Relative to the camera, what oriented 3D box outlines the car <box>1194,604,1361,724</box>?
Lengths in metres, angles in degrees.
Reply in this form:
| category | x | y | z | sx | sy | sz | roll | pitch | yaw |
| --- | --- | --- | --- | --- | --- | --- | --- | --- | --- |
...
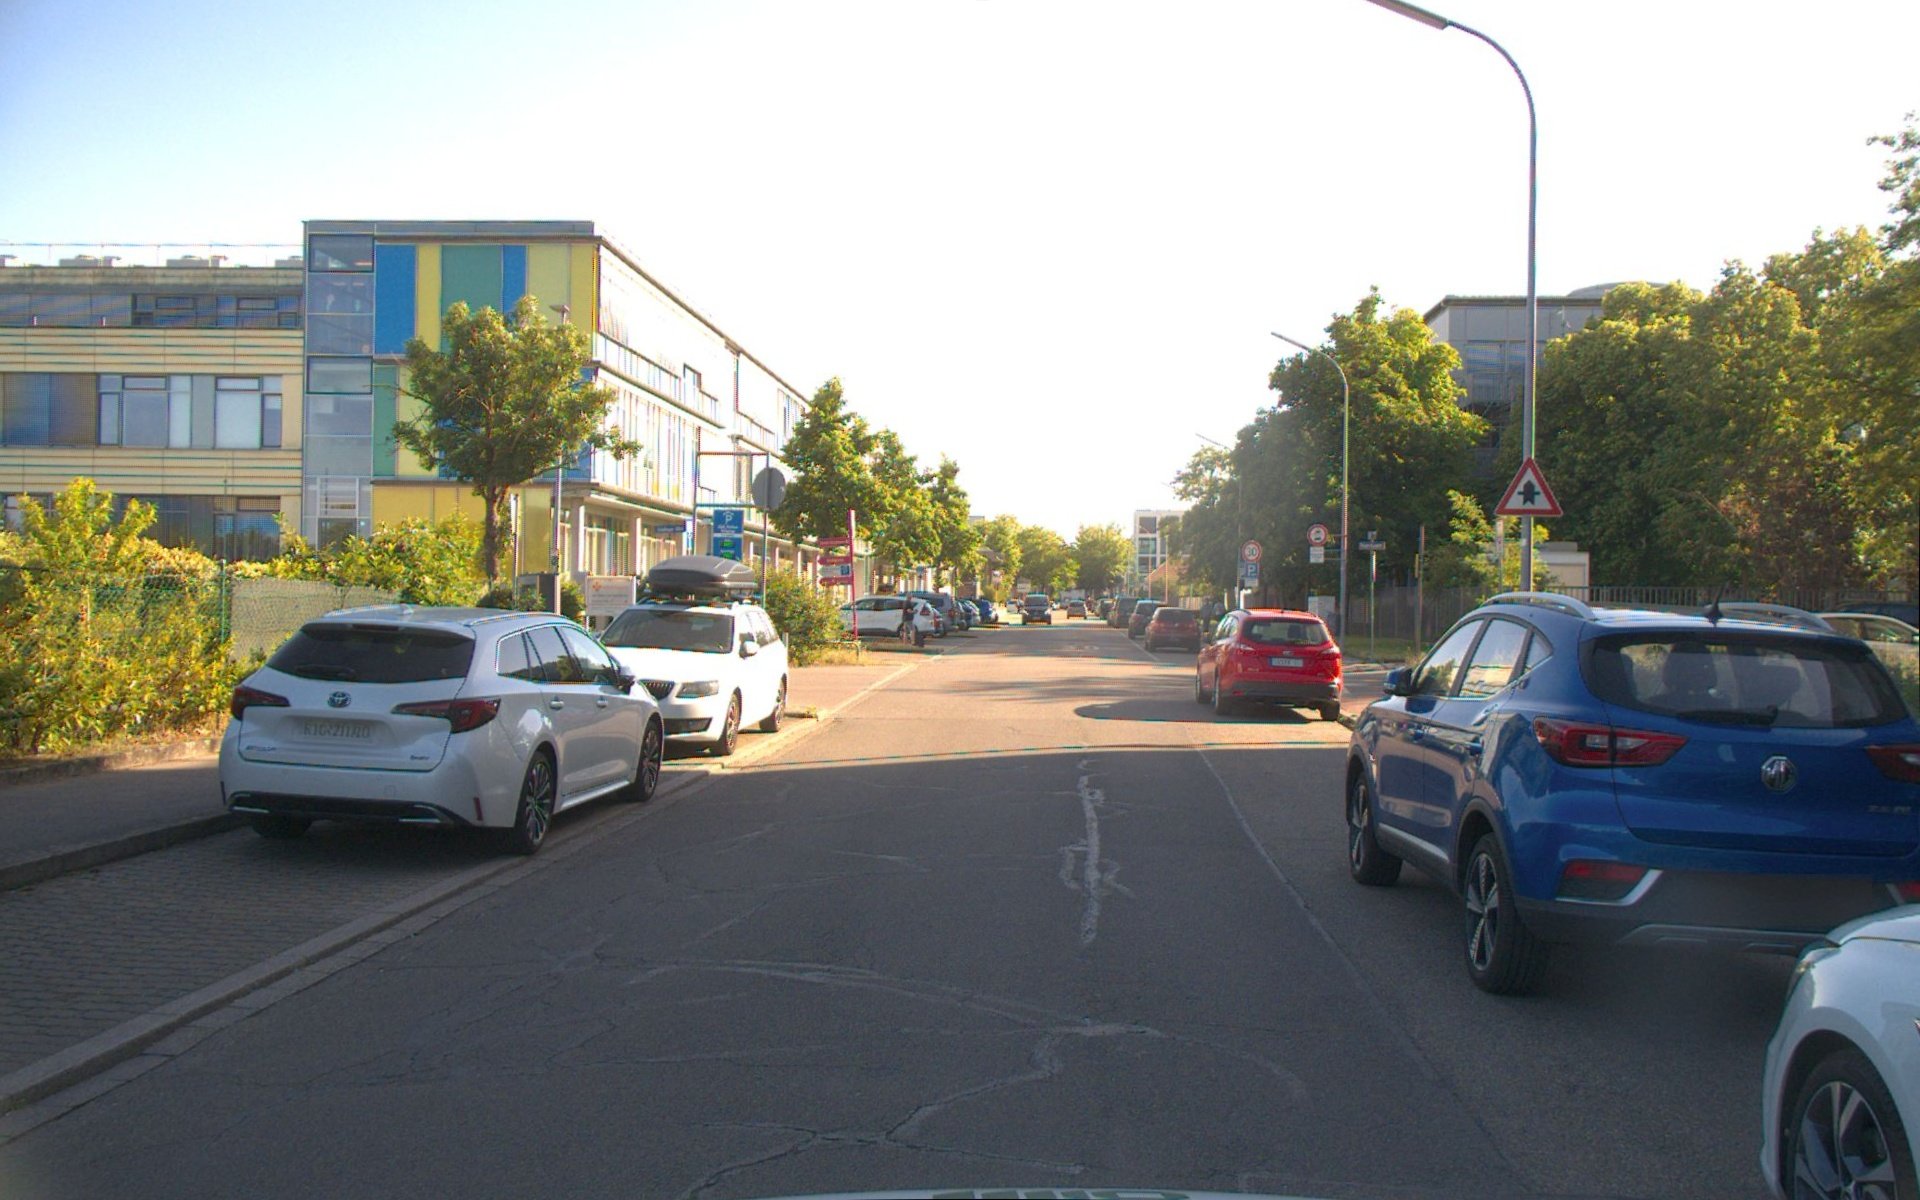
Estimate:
| category | x | y | z | sx | sy | sz | roll | pitch | yaw |
| --- | --- | --- | --- | --- | --- | --- | --- | --- | --- |
| car | 4.578 | 0.867 | 24.437 | 1.781 | 1.526 | 4.454 | 2 | 0 | 3 |

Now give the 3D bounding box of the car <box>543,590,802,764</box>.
| category | x | y | z | sx | sy | sz | roll | pitch | yaw |
| --- | --- | --- | --- | --- | --- | --- | --- | --- | --- |
| car | -2.912 | 0.726 | 17.754 | 1.660 | 1.540 | 4.519 | 3 | 0 | 4 |

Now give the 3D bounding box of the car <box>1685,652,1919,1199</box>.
| category | x | y | z | sx | sy | sz | roll | pitch | yaw |
| --- | --- | --- | --- | --- | --- | --- | --- | --- | --- |
| car | 2.654 | 0.897 | 2.109 | 1.708 | 1.454 | 4.588 | 2 | 0 | 4 |

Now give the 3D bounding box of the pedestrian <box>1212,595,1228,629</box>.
| category | x | y | z | sx | sy | sz | roll | pitch | yaw |
| --- | --- | --- | --- | --- | --- | --- | --- | --- | --- |
| pedestrian | 12.821 | 0.588 | 81.616 | 0.683 | 1.690 | 0.752 | -2 | 0 | 3 |

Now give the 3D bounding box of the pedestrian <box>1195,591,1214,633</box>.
| category | x | y | z | sx | sy | sz | roll | pitch | yaw |
| --- | --- | --- | --- | --- | --- | --- | --- | --- | --- |
| pedestrian | 10.569 | 0.523 | 71.543 | 0.702 | 1.789 | 0.885 | -2 | 0 | 4 |

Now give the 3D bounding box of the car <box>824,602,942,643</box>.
| category | x | y | z | sx | sy | sz | roll | pitch | yaw |
| --- | --- | --- | --- | --- | --- | --- | --- | --- | --- |
| car | -2.940 | 0.865 | 64.043 | 4.340 | 1.527 | 1.828 | 1 | -1 | 4 |

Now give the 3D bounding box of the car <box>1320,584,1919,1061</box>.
| category | x | y | z | sx | sy | sz | roll | pitch | yaw |
| --- | --- | --- | --- | --- | --- | --- | --- | --- | --- |
| car | 3.091 | 0.796 | 8.161 | 1.779 | 1.627 | 4.629 | 2 | 0 | 3 |

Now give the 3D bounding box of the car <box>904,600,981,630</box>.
| category | x | y | z | sx | sy | sz | roll | pitch | yaw |
| --- | --- | --- | --- | --- | --- | --- | --- | --- | --- |
| car | -0.884 | 0.758 | 85.119 | 3.905 | 1.382 | 1.743 | 2 | 0 | 0 |

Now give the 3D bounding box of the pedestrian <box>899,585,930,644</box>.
| category | x | y | z | sx | sy | sz | roll | pitch | yaw |
| --- | --- | --- | --- | --- | --- | --- | --- | --- | --- |
| pedestrian | -1.493 | 0.479 | 53.915 | 0.839 | 1.874 | 0.826 | 2 | 0 | 5 |

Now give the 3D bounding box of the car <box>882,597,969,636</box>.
| category | x | y | z | sx | sy | sz | roll | pitch | yaw |
| --- | --- | --- | --- | --- | --- | --- | --- | --- | --- |
| car | -1.576 | 0.762 | 76.629 | 3.905 | 1.635 | 1.872 | 2 | 0 | 0 |

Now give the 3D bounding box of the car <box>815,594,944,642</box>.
| category | x | y | z | sx | sy | sz | roll | pitch | yaw |
| --- | --- | --- | --- | --- | --- | --- | --- | --- | --- |
| car | -2.953 | 0.668 | 61.325 | 4.514 | 1.680 | 1.869 | 1 | -1 | 7 |

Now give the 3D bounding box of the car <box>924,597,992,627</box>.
| category | x | y | z | sx | sy | sz | roll | pitch | yaw |
| --- | --- | --- | --- | --- | --- | --- | --- | --- | --- |
| car | -0.095 | 0.736 | 102.354 | 4.127 | 1.631 | 1.872 | 2 | 0 | 0 |

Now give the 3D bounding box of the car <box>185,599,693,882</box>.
| category | x | y | z | sx | sy | sz | roll | pitch | yaw |
| --- | --- | --- | --- | --- | --- | --- | --- | --- | --- |
| car | -3.242 | 0.770 | 11.368 | 1.710 | 1.471 | 4.543 | 2 | 0 | 4 |

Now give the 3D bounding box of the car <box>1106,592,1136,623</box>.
| category | x | y | z | sx | sy | sz | roll | pitch | yaw |
| --- | --- | --- | --- | --- | --- | --- | --- | --- | --- |
| car | 10.738 | 0.514 | 110.243 | 1.835 | 2.013 | 4.002 | 0 | 0 | 4 |

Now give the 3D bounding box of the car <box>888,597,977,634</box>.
| category | x | y | z | sx | sy | sz | roll | pitch | yaw |
| --- | --- | --- | --- | --- | --- | --- | --- | --- | --- |
| car | -1.308 | 0.731 | 79.574 | 4.159 | 1.640 | 2.048 | 2 | 0 | 0 |

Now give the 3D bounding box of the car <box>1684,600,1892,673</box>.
| category | x | y | z | sx | sy | sz | roll | pitch | yaw |
| --- | --- | --- | --- | --- | --- | --- | --- | --- | --- |
| car | 19.648 | 0.848 | 39.393 | 4.065 | 1.665 | 1.757 | 0 | 0 | 5 |

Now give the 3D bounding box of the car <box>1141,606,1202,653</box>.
| category | x | y | z | sx | sy | sz | roll | pitch | yaw |
| --- | --- | --- | --- | --- | --- | --- | --- | --- | --- |
| car | 7.226 | 0.975 | 56.839 | 1.684 | 1.480 | 4.654 | 2 | 0 | 3 |

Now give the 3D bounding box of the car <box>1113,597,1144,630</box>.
| category | x | y | z | sx | sy | sz | roll | pitch | yaw |
| --- | --- | --- | --- | --- | --- | --- | --- | --- | --- |
| car | 9.963 | 0.781 | 97.771 | 1.696 | 1.862 | 3.907 | 1 | 0 | 4 |

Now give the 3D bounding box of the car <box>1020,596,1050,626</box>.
| category | x | y | z | sx | sy | sz | roll | pitch | yaw |
| --- | --- | --- | --- | --- | --- | --- | --- | --- | --- |
| car | 4.893 | 0.719 | 107.364 | 1.914 | 1.900 | 5.257 | 0 | 0 | 3 |

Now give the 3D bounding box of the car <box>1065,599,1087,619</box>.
| category | x | y | z | sx | sy | sz | roll | pitch | yaw |
| --- | --- | --- | --- | --- | --- | --- | --- | --- | --- |
| car | 9.578 | 0.717 | 136.757 | 1.707 | 1.570 | 4.002 | 1 | 0 | 4 |

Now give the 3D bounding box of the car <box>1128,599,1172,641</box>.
| category | x | y | z | sx | sy | sz | roll | pitch | yaw |
| --- | --- | --- | --- | --- | --- | --- | --- | --- | --- |
| car | 8.335 | 0.853 | 72.850 | 1.774 | 1.695 | 4.595 | 2 | 1 | 5 |

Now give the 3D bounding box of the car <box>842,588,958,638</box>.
| category | x | y | z | sx | sy | sz | roll | pitch | yaw |
| --- | --- | --- | --- | --- | --- | --- | --- | --- | --- |
| car | -2.498 | 0.541 | 69.679 | 4.643 | 1.897 | 1.828 | 2 | 0 | 4 |

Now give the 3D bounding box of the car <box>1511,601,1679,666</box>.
| category | x | y | z | sx | sy | sz | roll | pitch | yaw |
| --- | --- | --- | --- | --- | --- | --- | --- | --- | --- |
| car | 15.286 | 0.795 | 39.933 | 3.471 | 1.512 | 1.601 | 0 | 0 | 5 |

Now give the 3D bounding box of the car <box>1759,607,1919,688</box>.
| category | x | y | z | sx | sy | sz | roll | pitch | yaw |
| --- | --- | --- | --- | --- | --- | --- | --- | --- | --- |
| car | 17.248 | 0.890 | 31.551 | 3.255 | 1.484 | 1.716 | 0 | 0 | 9 |

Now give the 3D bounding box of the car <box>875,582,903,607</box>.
| category | x | y | z | sx | sy | sz | roll | pitch | yaw |
| --- | --- | --- | --- | --- | --- | --- | --- | --- | --- |
| car | -6.086 | -0.457 | 141.642 | 1.952 | 2.049 | 4.001 | 1 | -1 | 4 |

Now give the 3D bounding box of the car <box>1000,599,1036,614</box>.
| category | x | y | z | sx | sy | sz | roll | pitch | yaw |
| --- | --- | --- | --- | --- | --- | --- | --- | --- | --- |
| car | 6.510 | 0.709 | 185.770 | 3.903 | 1.546 | 2.001 | 1 | -1 | 4 |
